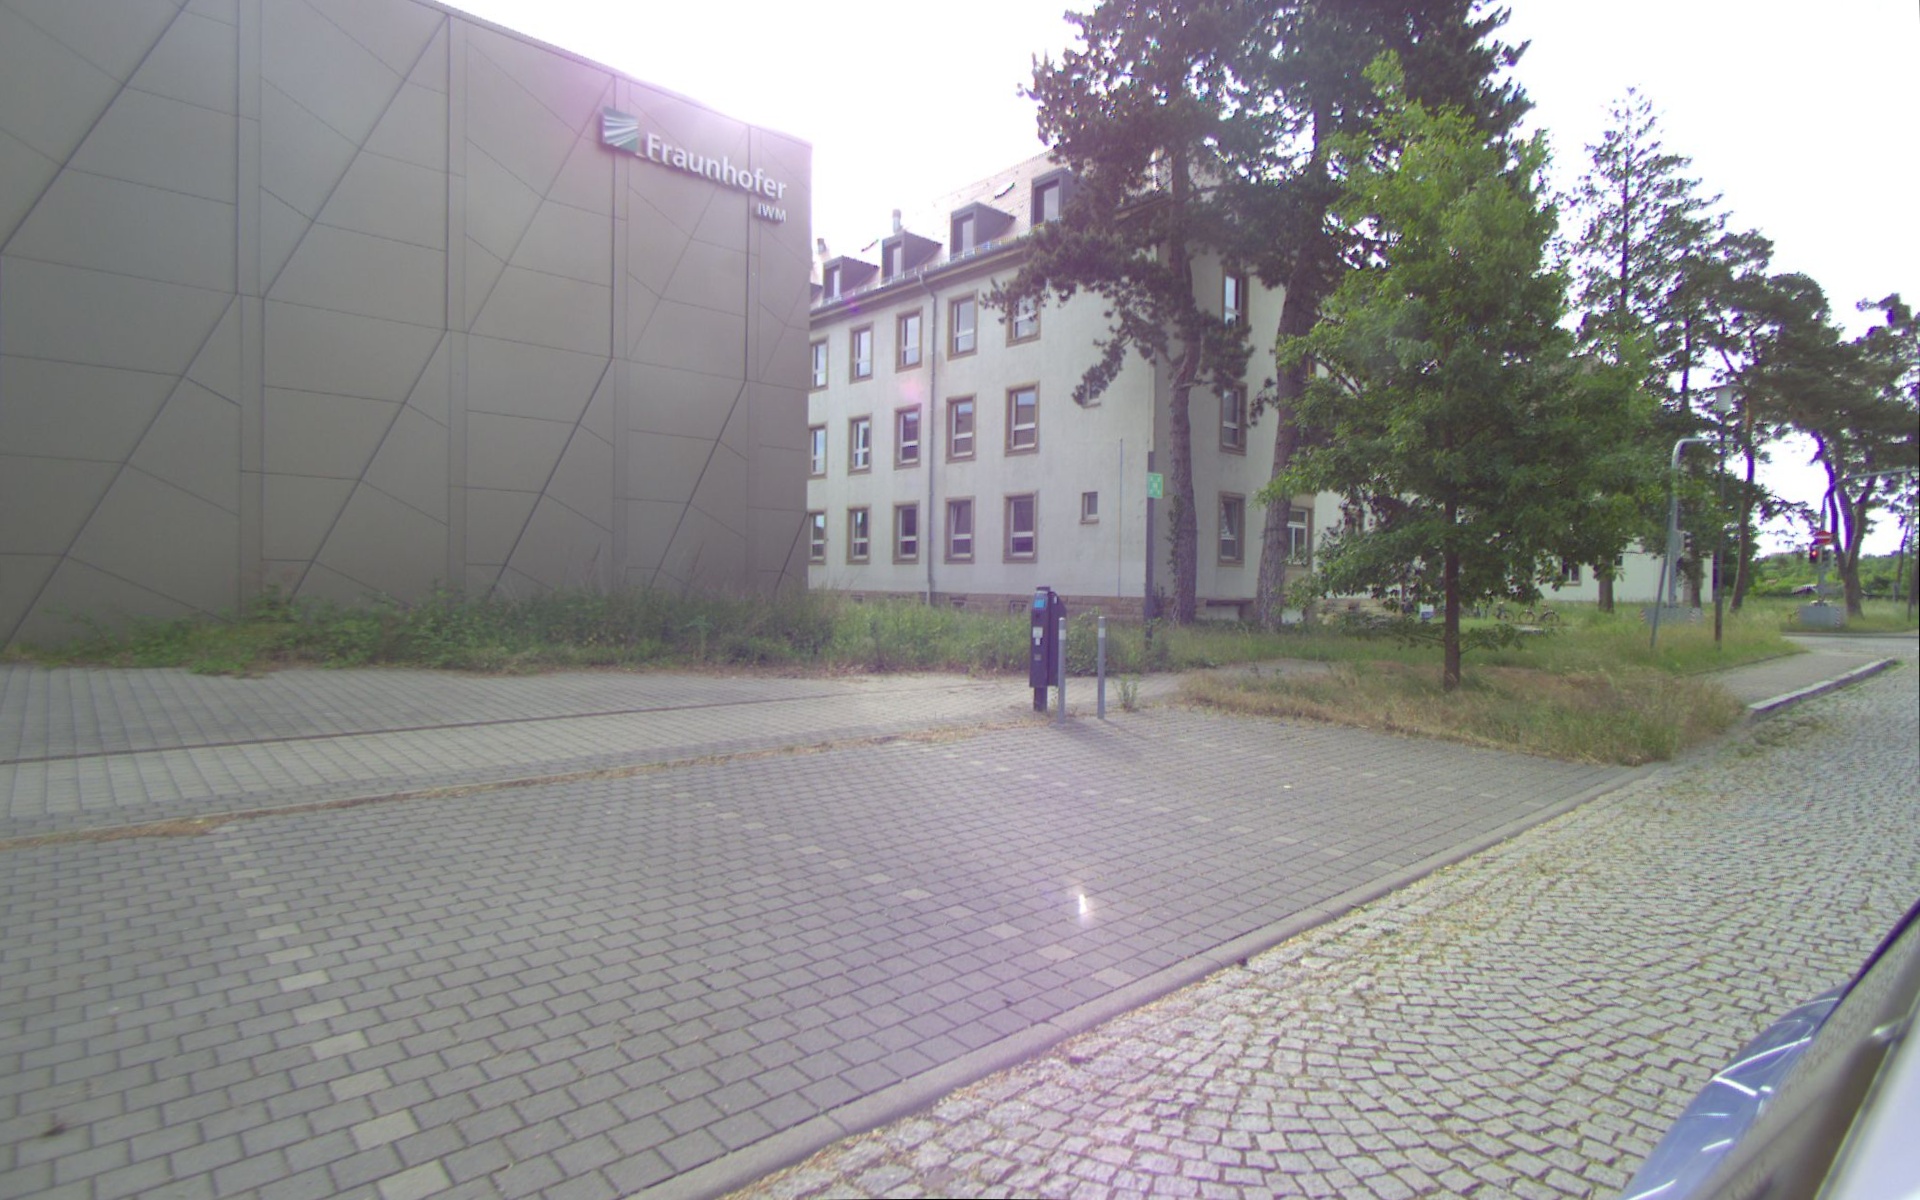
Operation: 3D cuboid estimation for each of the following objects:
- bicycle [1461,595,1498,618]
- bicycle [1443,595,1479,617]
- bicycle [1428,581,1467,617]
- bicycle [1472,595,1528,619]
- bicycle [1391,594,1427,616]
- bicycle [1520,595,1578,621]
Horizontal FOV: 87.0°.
[{"bbox_3d":[24.888,0.293,48.496,2.127,1.070,0.799,0,1,-40],"label":"bicycle"},{"bbox_3d":[24.330,0.282,49.137,2.160,1.070,0.799,0,1,-40],"label":"bicycle"},{"bbox_3d":[24.069,-0.073,49.928,2.160,1.753,0.904,0,1,-40],"label":"bicycle"},{"bbox_3d":[24.970,0.323,46.813,2.159,1.070,0.706,1,1,45],"label":"bicycle"},{"bbox_3d":[22.625,0.262,50.934,2.127,1.070,0.799,0,1,-40],"label":"bicycle"},{"bbox_3d":[26.311,0.324,45.218,2.159,1.109,0.706,1,1,45],"label":"bicycle"}]
